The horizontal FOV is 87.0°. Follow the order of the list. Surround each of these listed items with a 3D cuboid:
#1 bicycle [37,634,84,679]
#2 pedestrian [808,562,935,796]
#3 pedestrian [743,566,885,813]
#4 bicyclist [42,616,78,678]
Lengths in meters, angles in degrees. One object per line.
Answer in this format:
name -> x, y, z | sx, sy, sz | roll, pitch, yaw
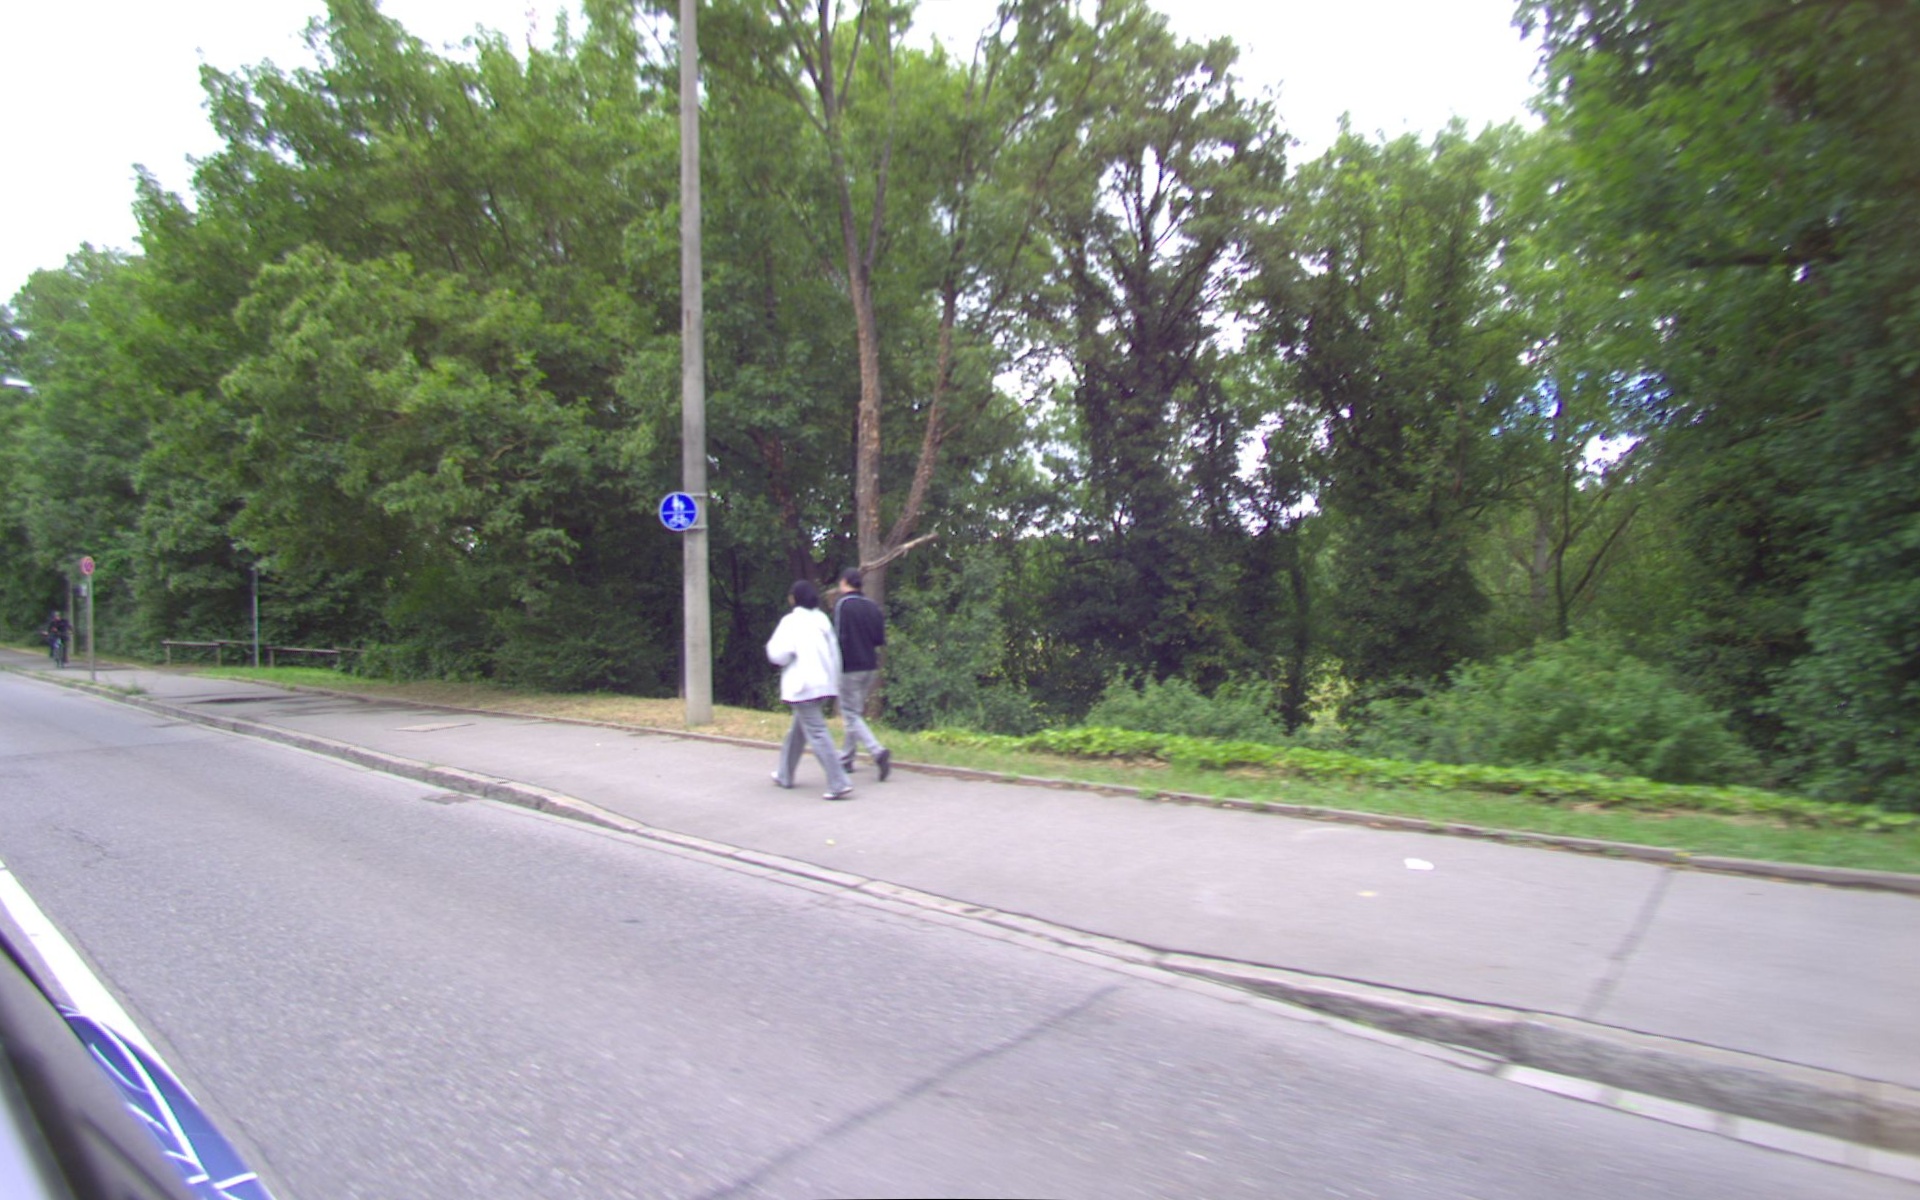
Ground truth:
bicycle -> -29.183, 1.819, 32.827 | 2.277, 1.341, 0.692 | -1, 1, 37
pedestrian -> -0.731, 0.616, 8.346 | 0.821, 1.817, 0.581 | -2, 0, 40
pedestrian -> -1.131, 0.655, 7.813 | 0.857, 1.778, 0.545 | -2, 3, 40
bicyclist -> -29.186, 1.510, 32.820 | 0.834, 1.963, 0.680 | -2, 0, 37
